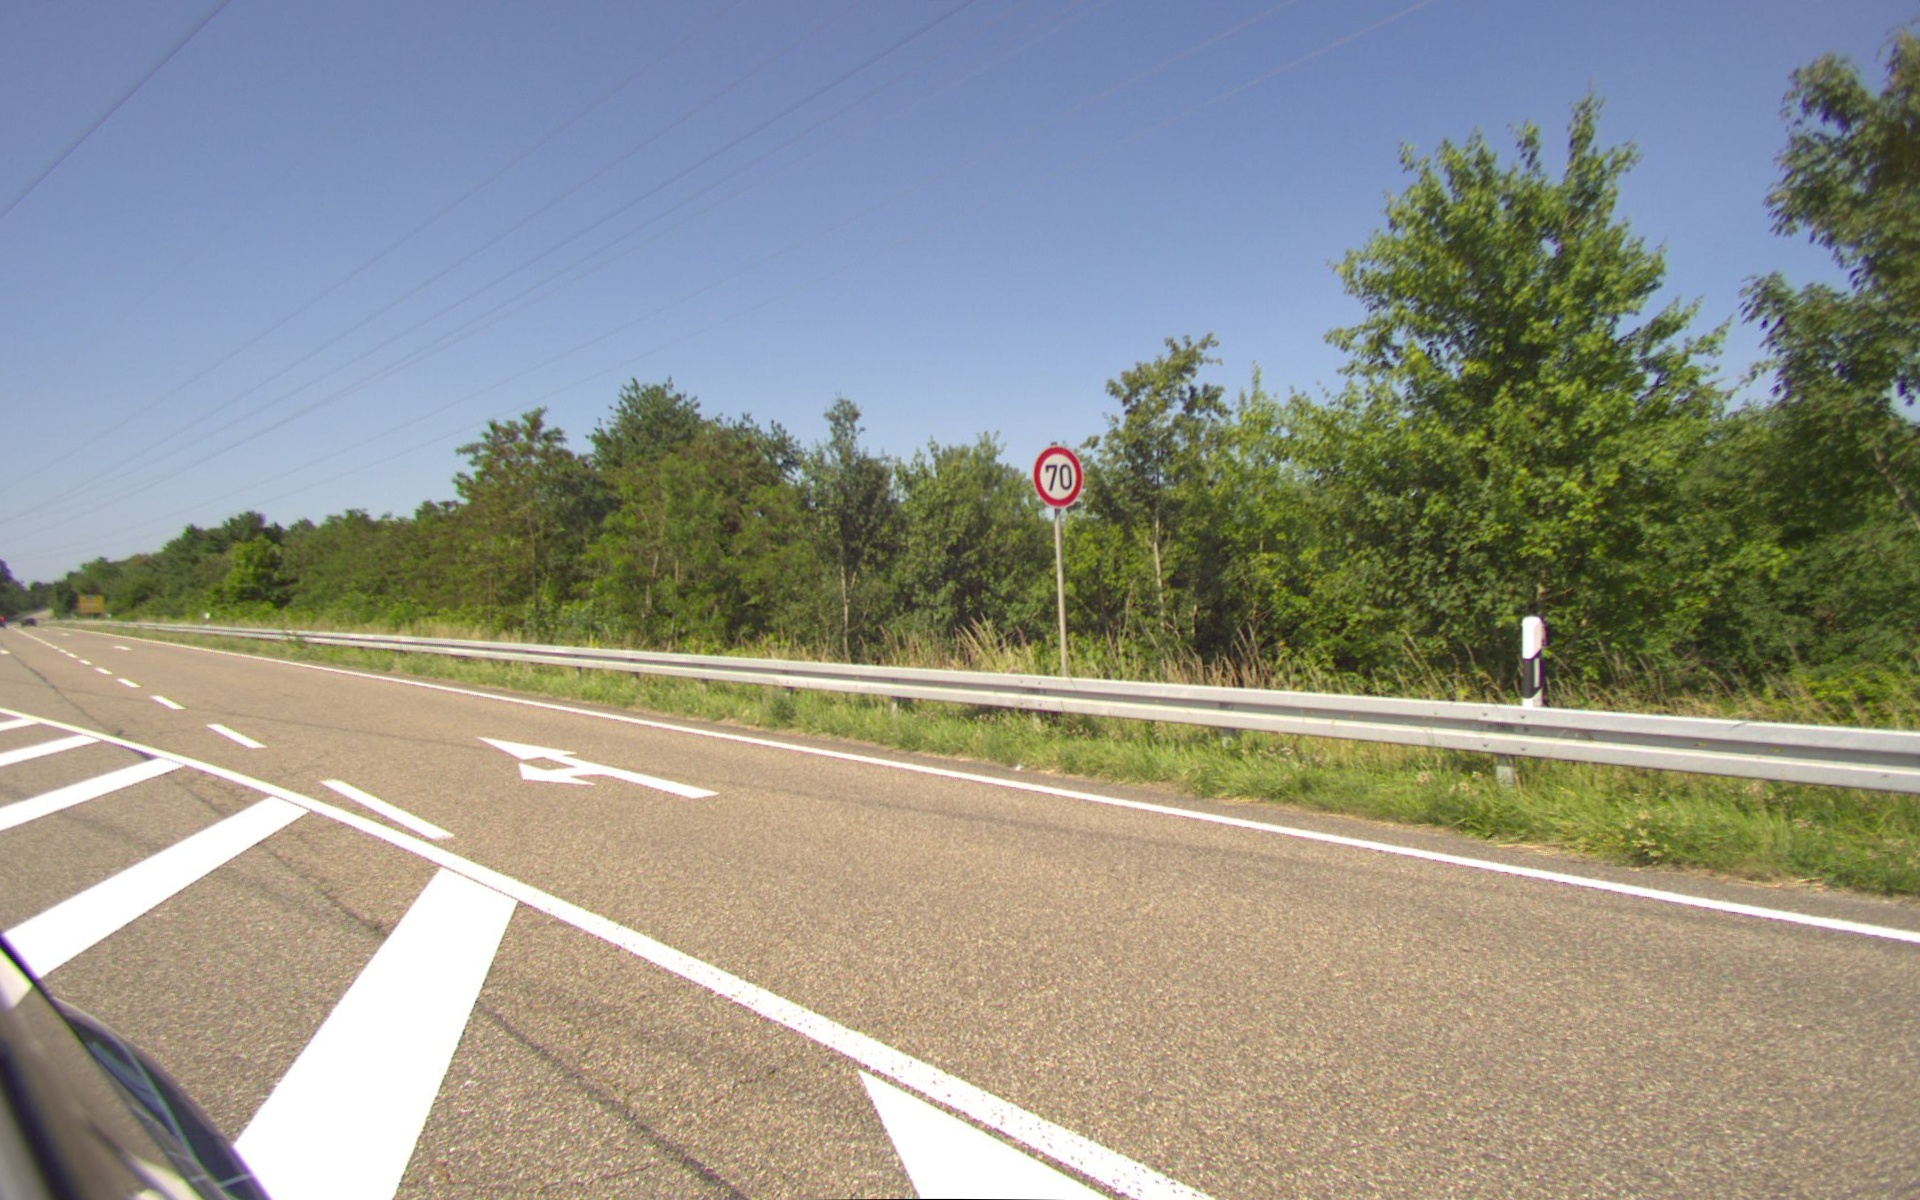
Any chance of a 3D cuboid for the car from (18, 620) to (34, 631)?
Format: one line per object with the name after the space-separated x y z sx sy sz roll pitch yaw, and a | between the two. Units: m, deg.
-146.251 3.990 158.529 1.807 1.595 4.004 1 -2 -43 | car
